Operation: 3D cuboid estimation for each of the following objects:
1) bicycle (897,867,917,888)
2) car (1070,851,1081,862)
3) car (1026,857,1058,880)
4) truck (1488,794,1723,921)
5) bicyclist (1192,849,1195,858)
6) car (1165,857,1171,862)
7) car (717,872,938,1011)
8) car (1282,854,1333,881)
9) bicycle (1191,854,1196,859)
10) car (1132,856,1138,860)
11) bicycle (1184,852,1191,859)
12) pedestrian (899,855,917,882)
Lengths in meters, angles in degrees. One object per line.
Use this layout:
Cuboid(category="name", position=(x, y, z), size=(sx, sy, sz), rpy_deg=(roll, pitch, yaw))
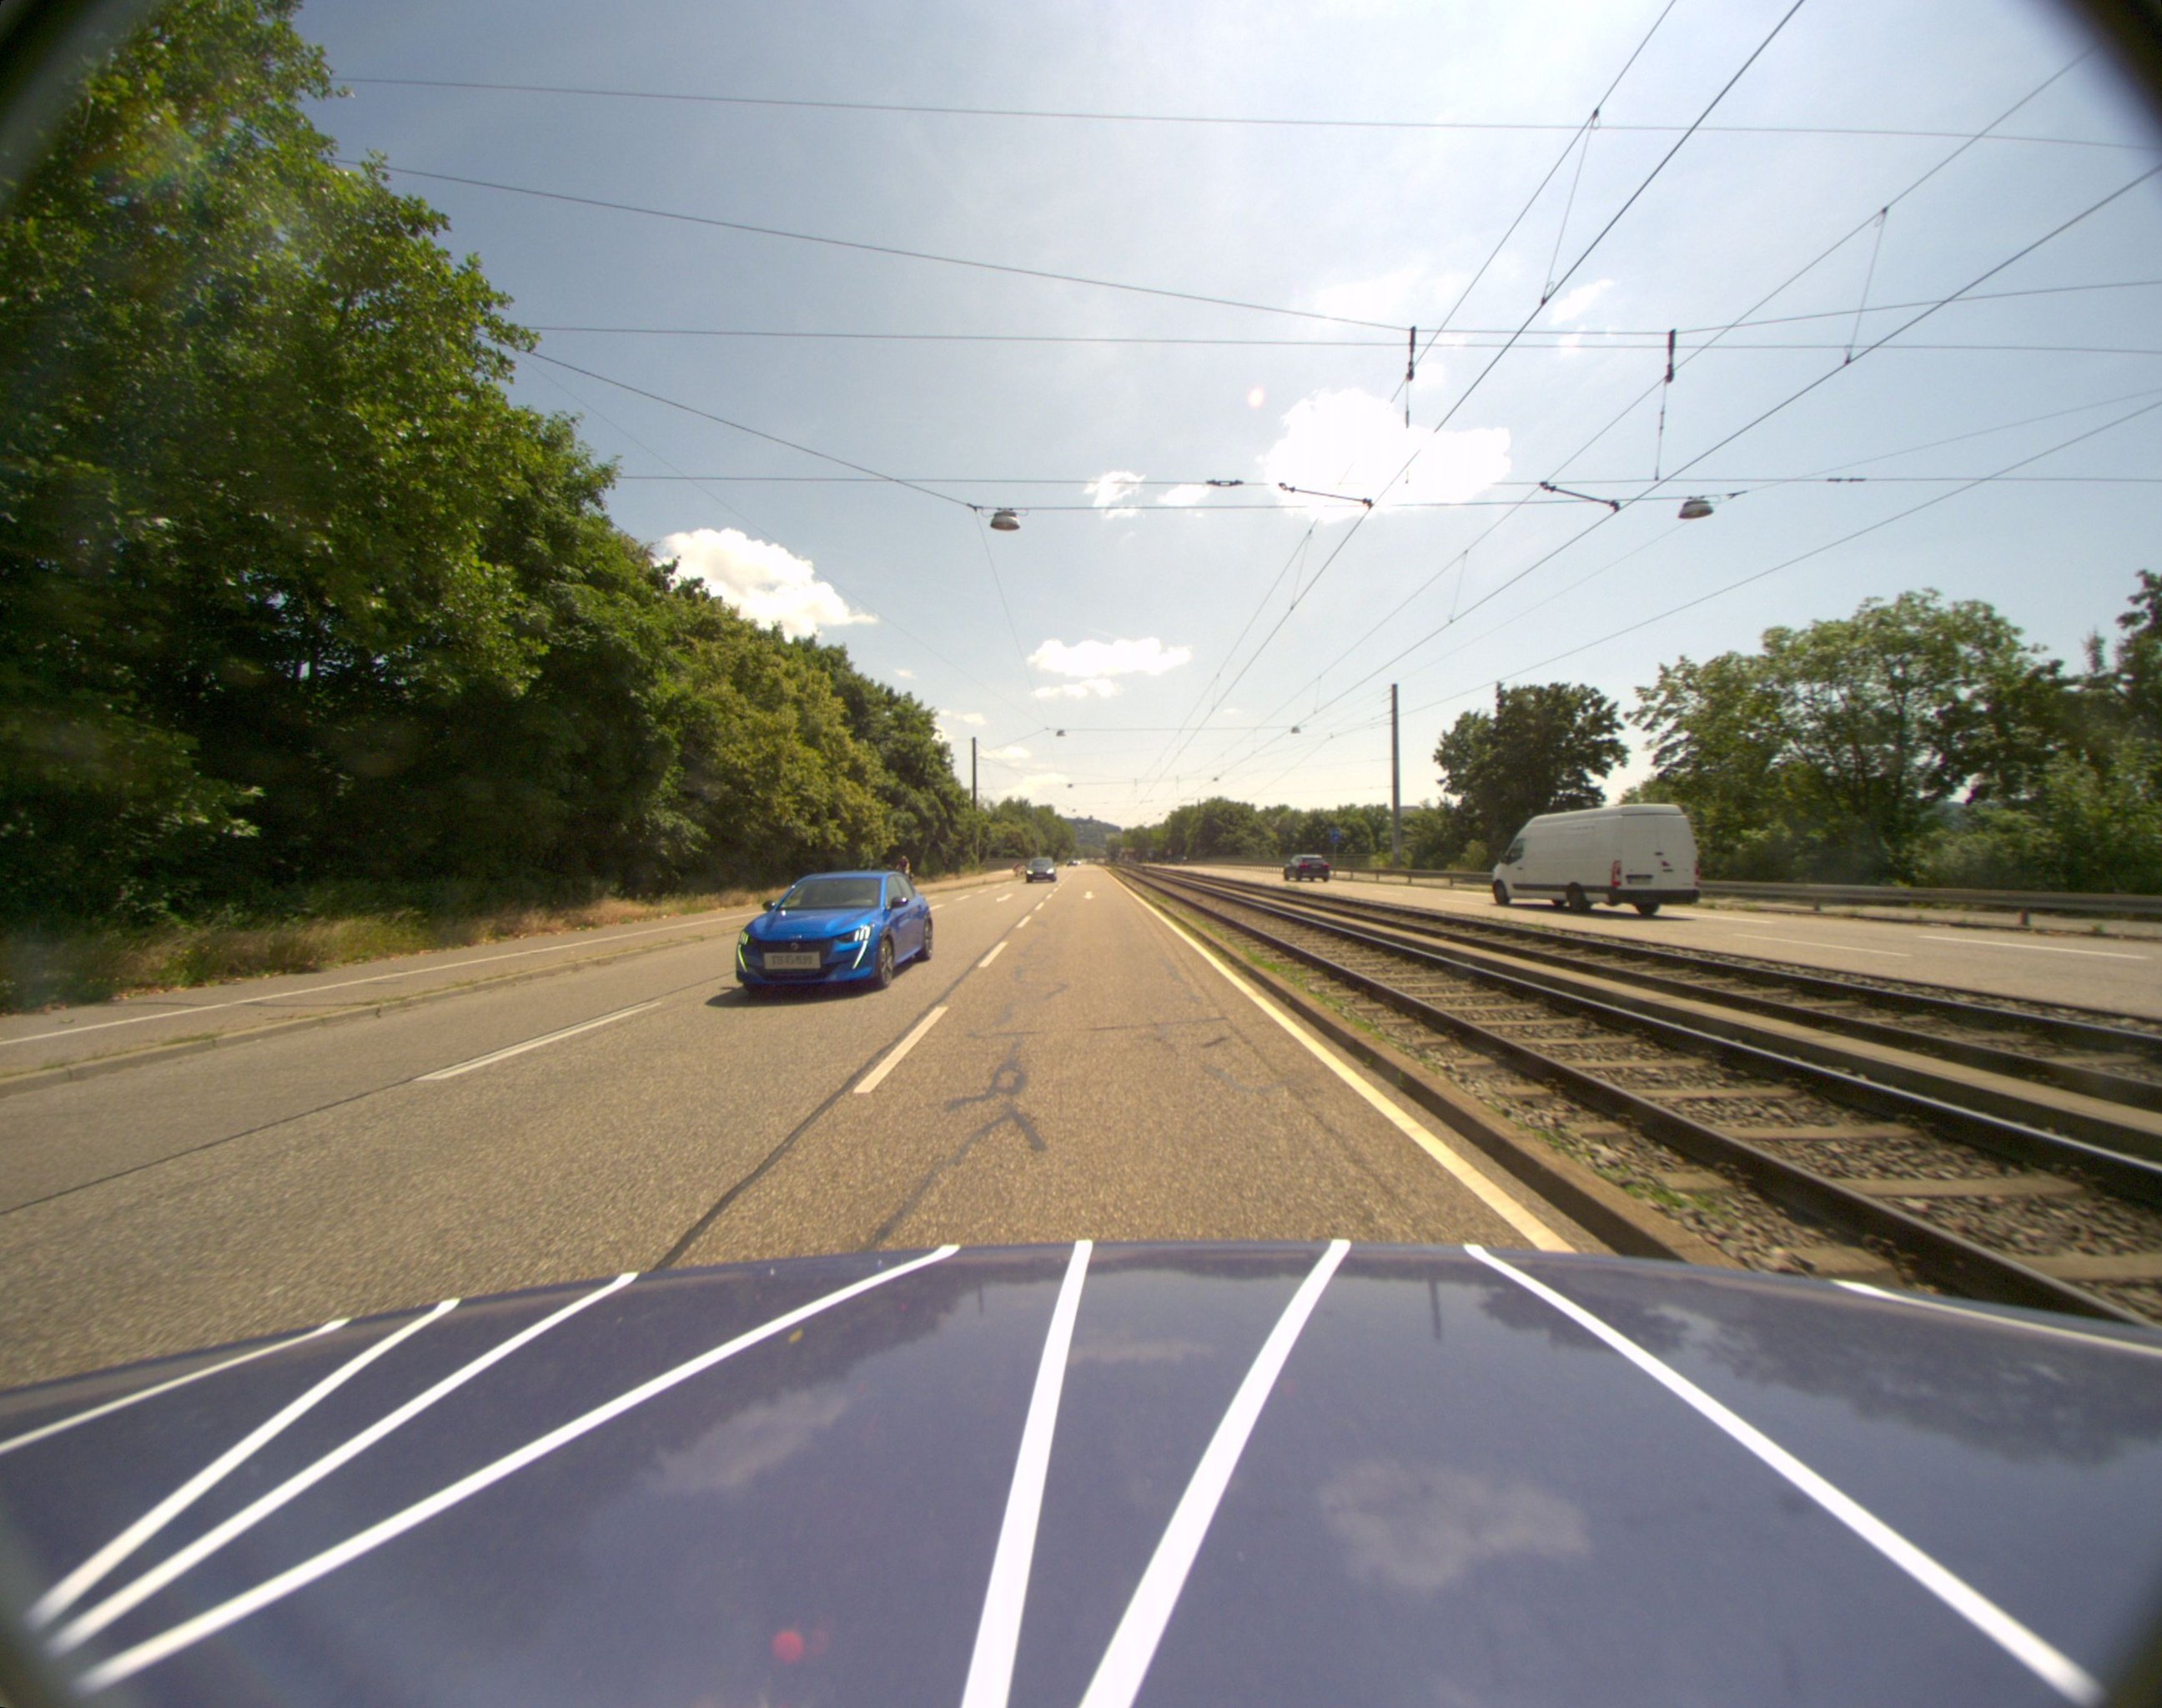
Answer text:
Cuboid(category="bicycle", position=(-8.906, 1.188, 39.032), size=(0.561, 1.018, 1.848), rpy_deg=(-1, 1, 1))
Cuboid(category="car", position=(-1.113, 0.521, 147.467), size=(1.999, 2.002, 4.000), rpy_deg=(-2, 0, 0))
Cuboid(category="car", position=(-2.460, 0.887, 48.388), size=(1.769, 1.359, 3.743), rpy_deg=(-2, 0, 0))
Cuboid(category="truck", position=(13.809, 0.081, 20.707), size=(2.059, 2.922, 6.319), rpy_deg=(0, 0, 1))
Cuboid(category="bicyclist", position=(19.442, -0.090, 131.326), size=(0.522, 1.488, 0.530), rpy_deg=(-2, 0, 0))
Cuboid(category="car", position=(25.865, 1.578, 226.169), size=(1.567, 1.339, 3.929), rpy_deg=(0, 0, 1))
Cuboid(category="car", position=(-3.192, 1.025, 10.387), size=(1.660, 1.397, 3.744), rpy_deg=(-2, 0, 1))
Cuboid(category="car", position=(13.640, 0.772, 45.931), size=(1.822, 1.505, 4.427), rpy_deg=(0, 0, 1))
Cuboid(category="bicycle", position=(19.462, 0.448, 131.329), size=(0.524, 0.838, 2.036), rpy_deg=(-3, 0, -1))
Cuboid(category="car", position=(17.519, 1.304, 245.067), size=(1.715, 1.412, 4.624), rpy_deg=(0, 0, 1))
Cuboid(category="bicycle", position=(20.043, 0.280, 142.914), size=(0.859, 1.178, 2.062), rpy_deg=(-2, 0, 0))
Cuboid(category="pedestrian", position=(-8.891, 0.721, 39.024), size=(0.629, 1.366, 1.050), rpy_deg=(-1, 1, 1))
